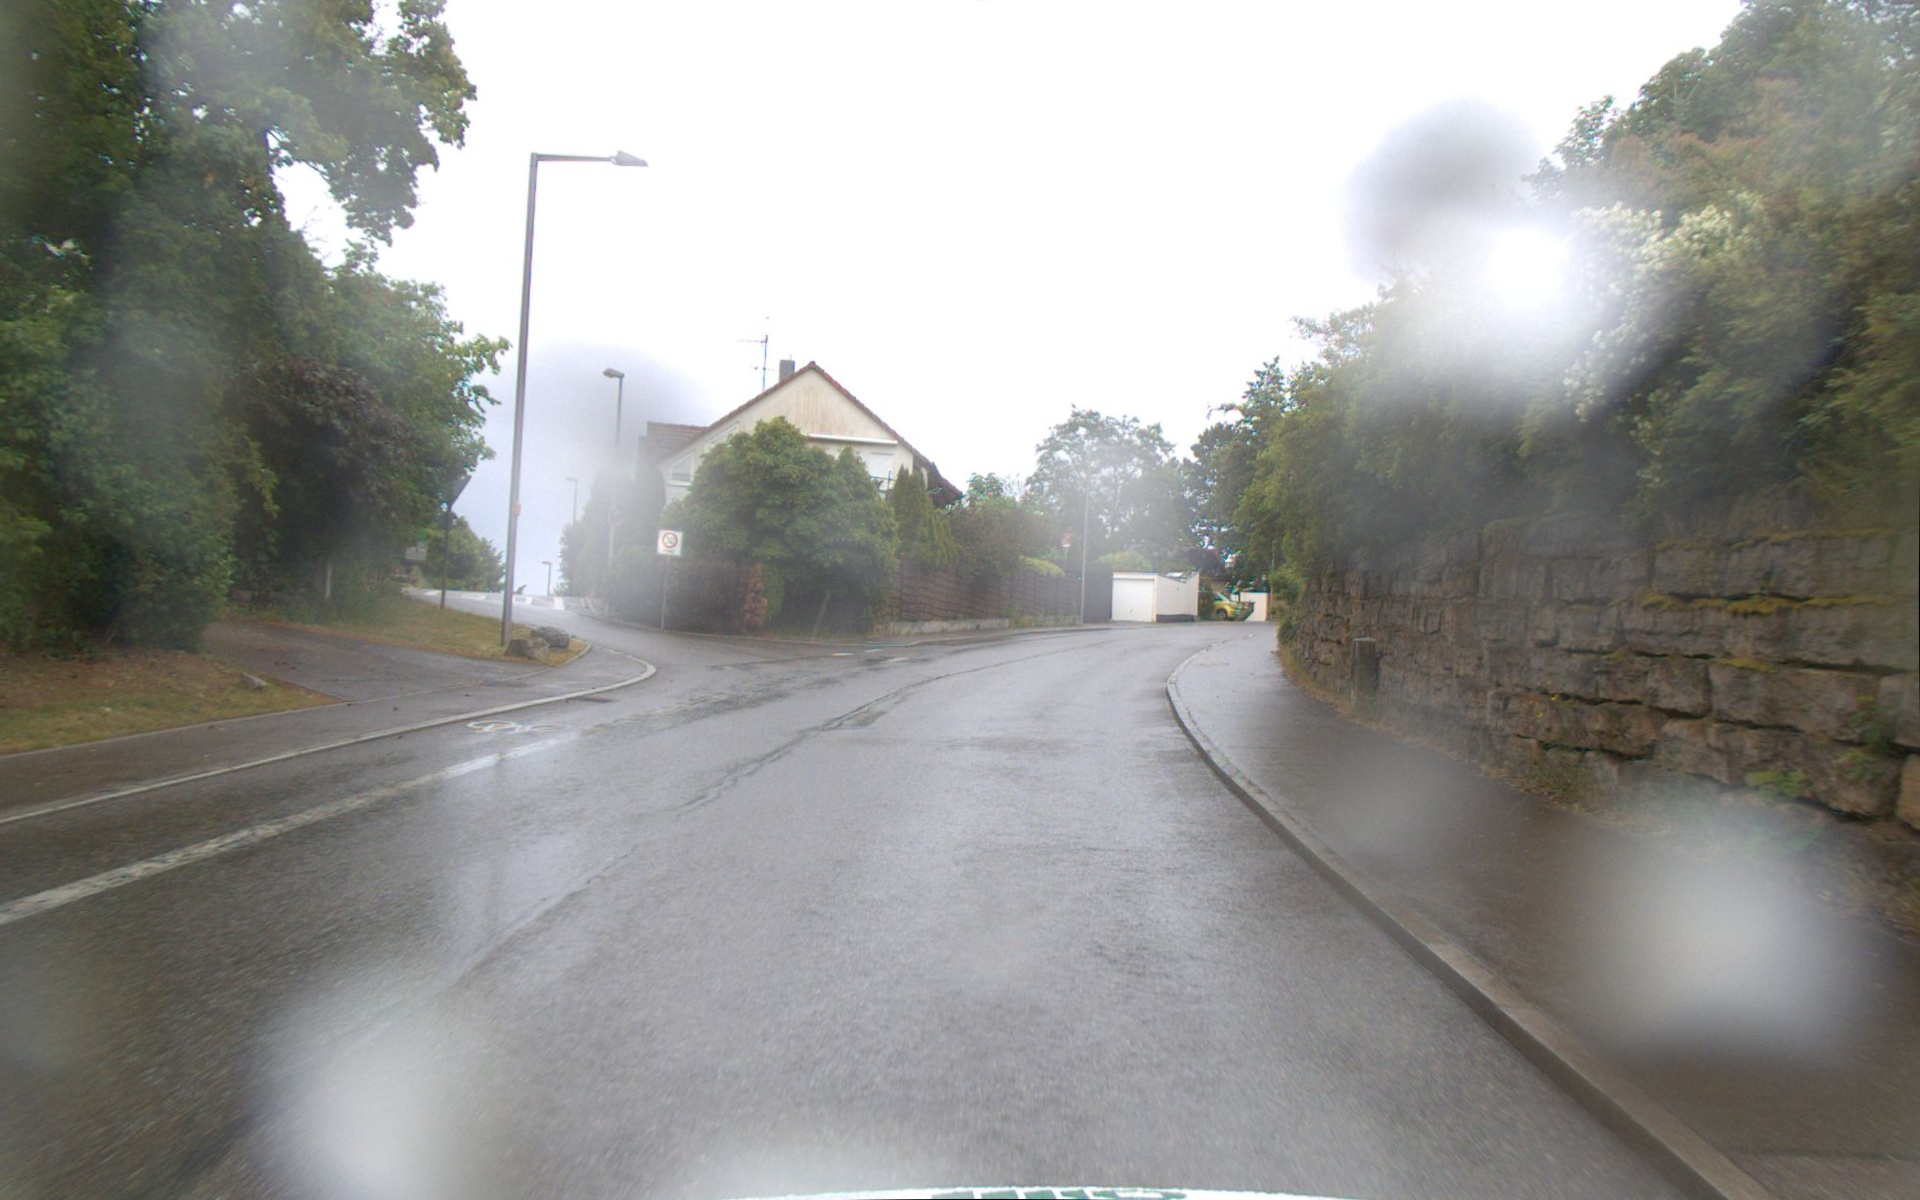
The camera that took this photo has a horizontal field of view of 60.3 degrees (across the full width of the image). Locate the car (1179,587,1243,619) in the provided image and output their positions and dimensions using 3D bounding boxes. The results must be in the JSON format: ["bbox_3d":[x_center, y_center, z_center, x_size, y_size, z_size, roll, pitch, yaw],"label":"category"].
[{"bbox_3d":[16.235,0.179,107.061,3.759,1.940,1.535,2,0,28],"label":"car"}]
